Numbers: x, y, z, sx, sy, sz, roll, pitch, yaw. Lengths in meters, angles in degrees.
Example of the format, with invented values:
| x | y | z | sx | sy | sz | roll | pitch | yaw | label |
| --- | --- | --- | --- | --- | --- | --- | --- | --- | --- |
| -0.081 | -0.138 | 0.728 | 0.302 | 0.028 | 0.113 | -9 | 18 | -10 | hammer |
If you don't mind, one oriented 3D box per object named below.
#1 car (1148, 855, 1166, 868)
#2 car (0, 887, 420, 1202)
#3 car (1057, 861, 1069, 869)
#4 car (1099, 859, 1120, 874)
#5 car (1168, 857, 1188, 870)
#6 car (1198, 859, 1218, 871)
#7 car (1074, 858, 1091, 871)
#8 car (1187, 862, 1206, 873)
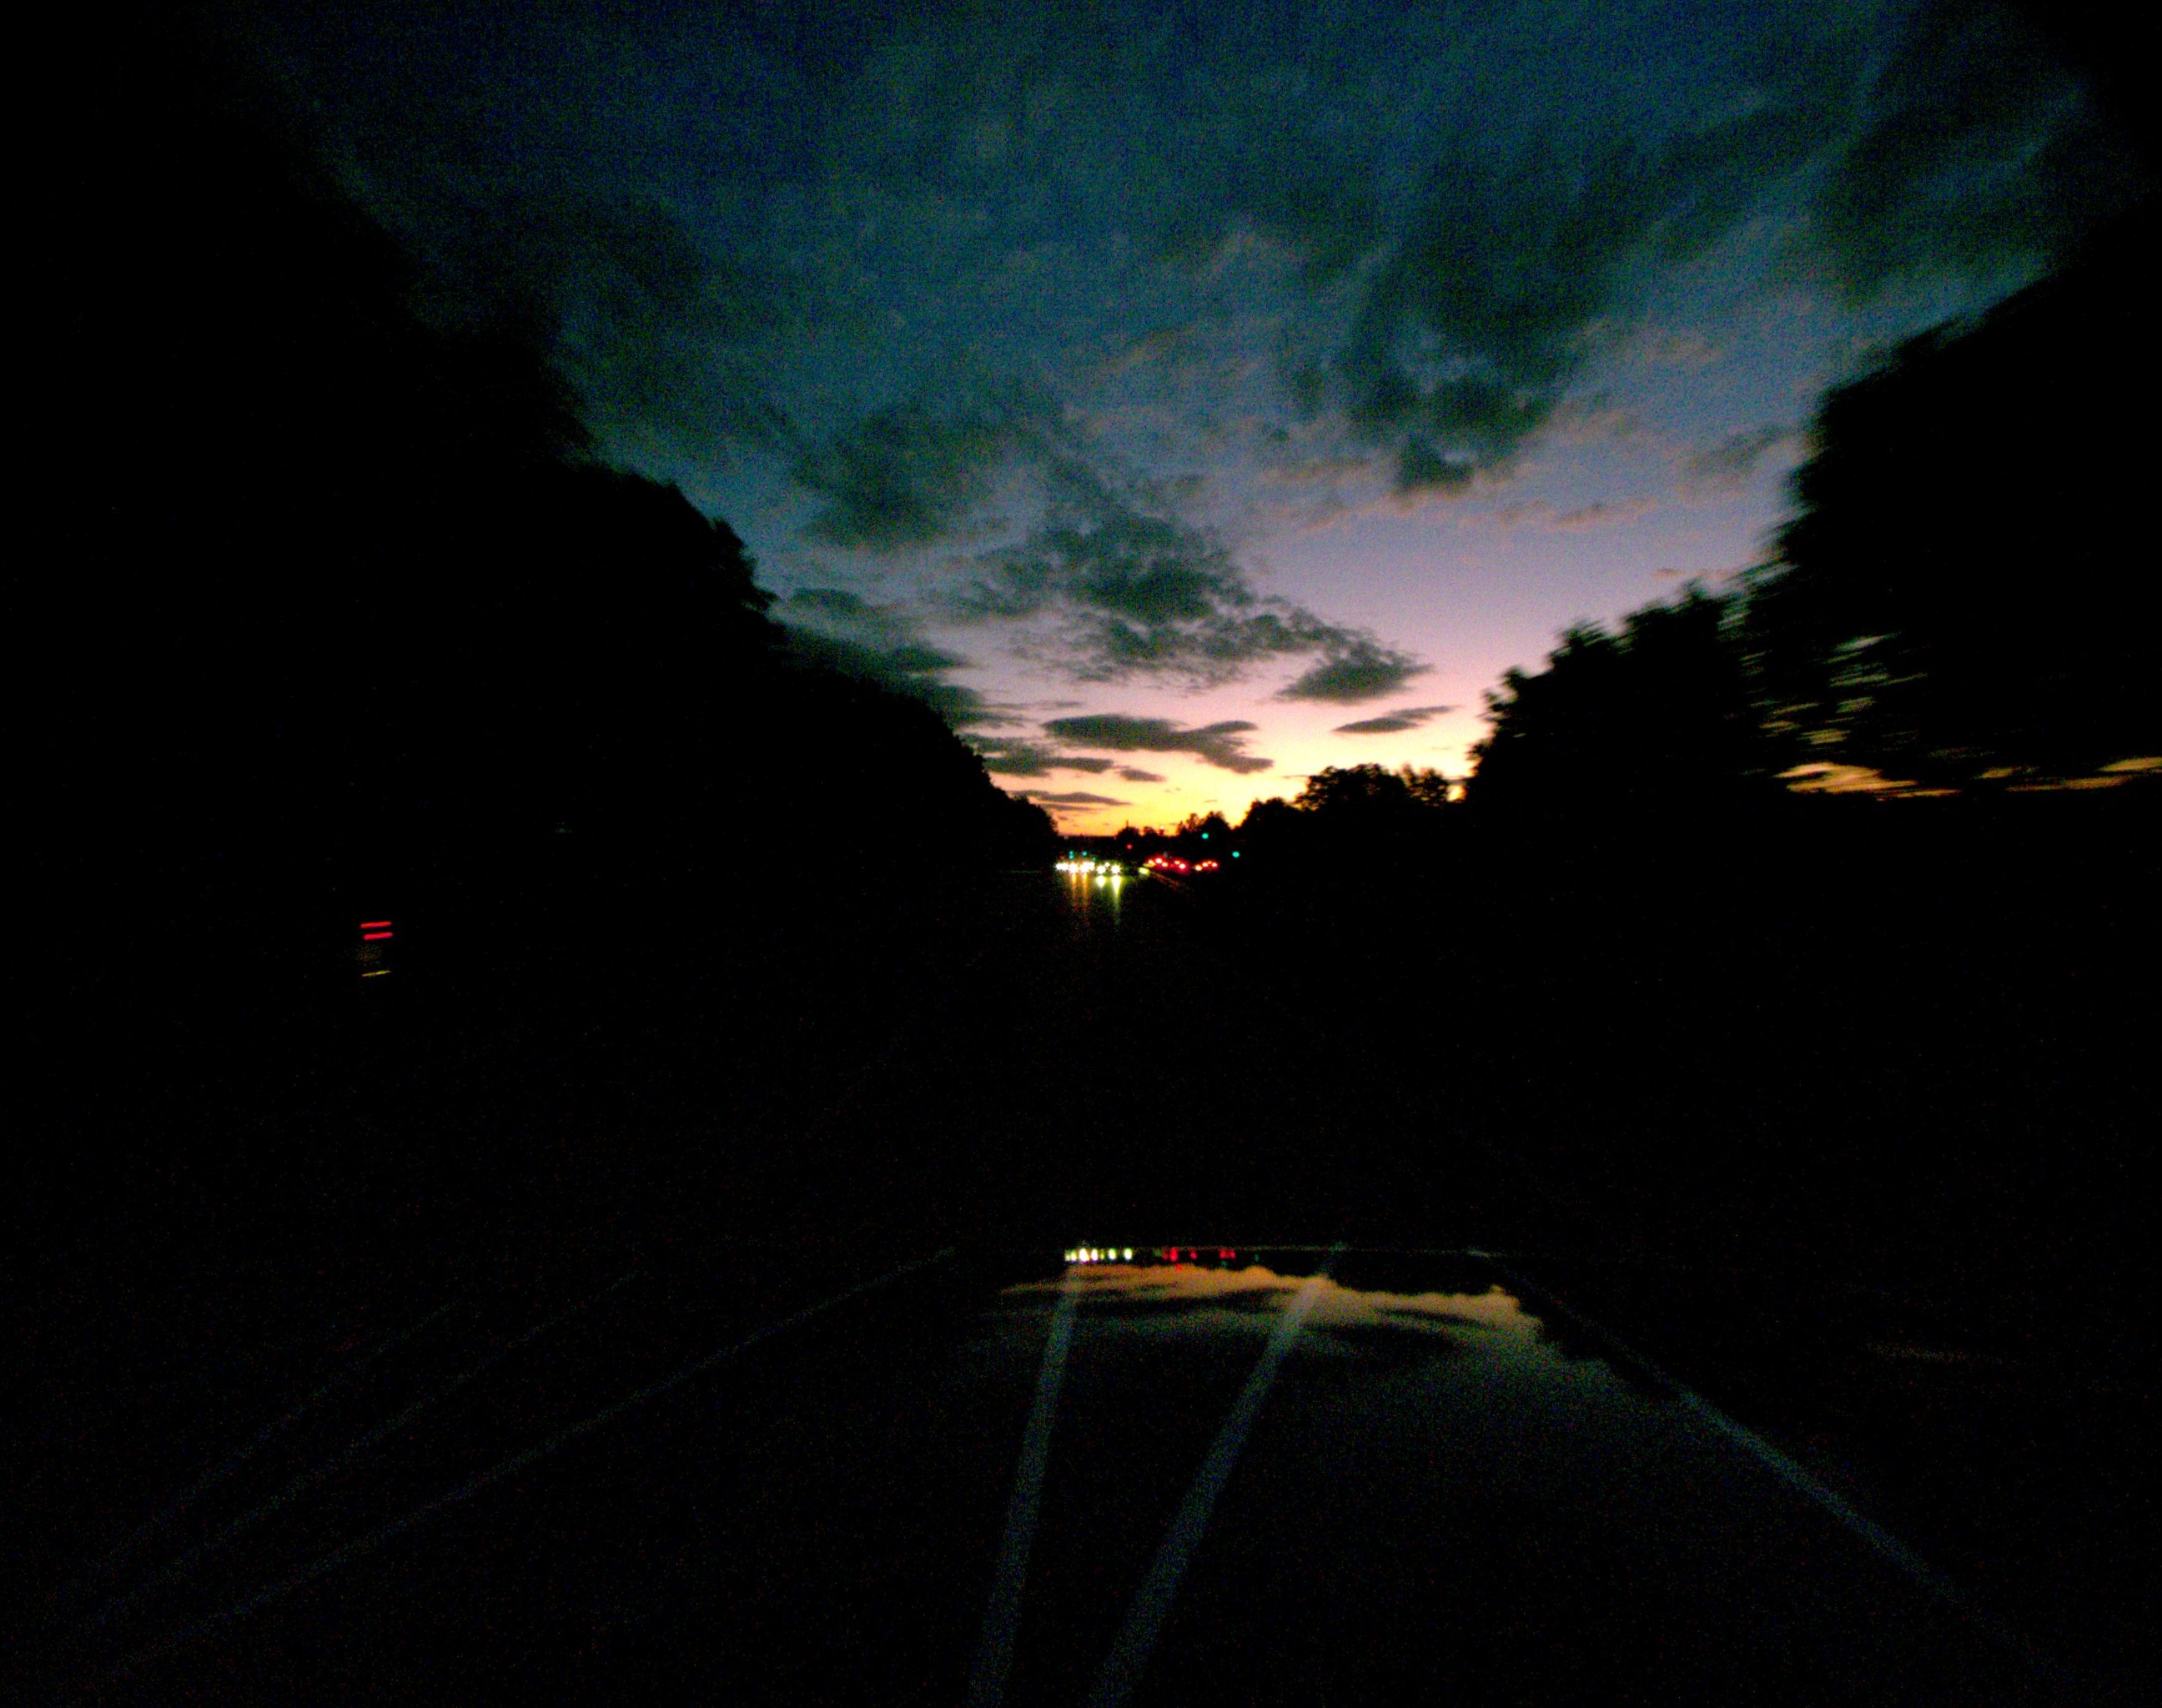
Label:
| x | y | z | sx | sy | sz | roll | pitch | yaw | label |
| --- | --- | --- | --- | --- | --- | --- | --- | --- | --- |
| 9.466 | 0.979 | 95.108 | 1.998 | 1.560 | 4.823 | 1 | 0 | 2 | car |
| -6.830 | 1.097 | 4.431 | 1.905 | 1.610 | 4.556 | -1 | 0 | 1 | car |
| -3.864 | 2.387 | 166.465 | 2.006 | 1.717 | 4.002 | 0 | 0 | 7 | car |
| 2.879 | 1.238 | 76.189 | 1.998 | 1.444 | 4.735 | -1 | 0 | 3 | car |
| 13.199 | 1.295 | 103.311 | 1.999 | 1.672 | 4.872 | 0 | 1 | -1 | car |
| 16.830 | 1.433 | 100.919 | 1.998 | 1.444 | 4.735 | 0 | 0 | 1 | car |
| 0.188 | 1.279 | 93.494 | 1.999 | 1.444 | 4.000 | 1 | 0 | -1 | car |
| 16.212 | 1.892 | 106.729 | 1.998 | 1.444 | 4.735 | 0 | -1 | 0 | car |
